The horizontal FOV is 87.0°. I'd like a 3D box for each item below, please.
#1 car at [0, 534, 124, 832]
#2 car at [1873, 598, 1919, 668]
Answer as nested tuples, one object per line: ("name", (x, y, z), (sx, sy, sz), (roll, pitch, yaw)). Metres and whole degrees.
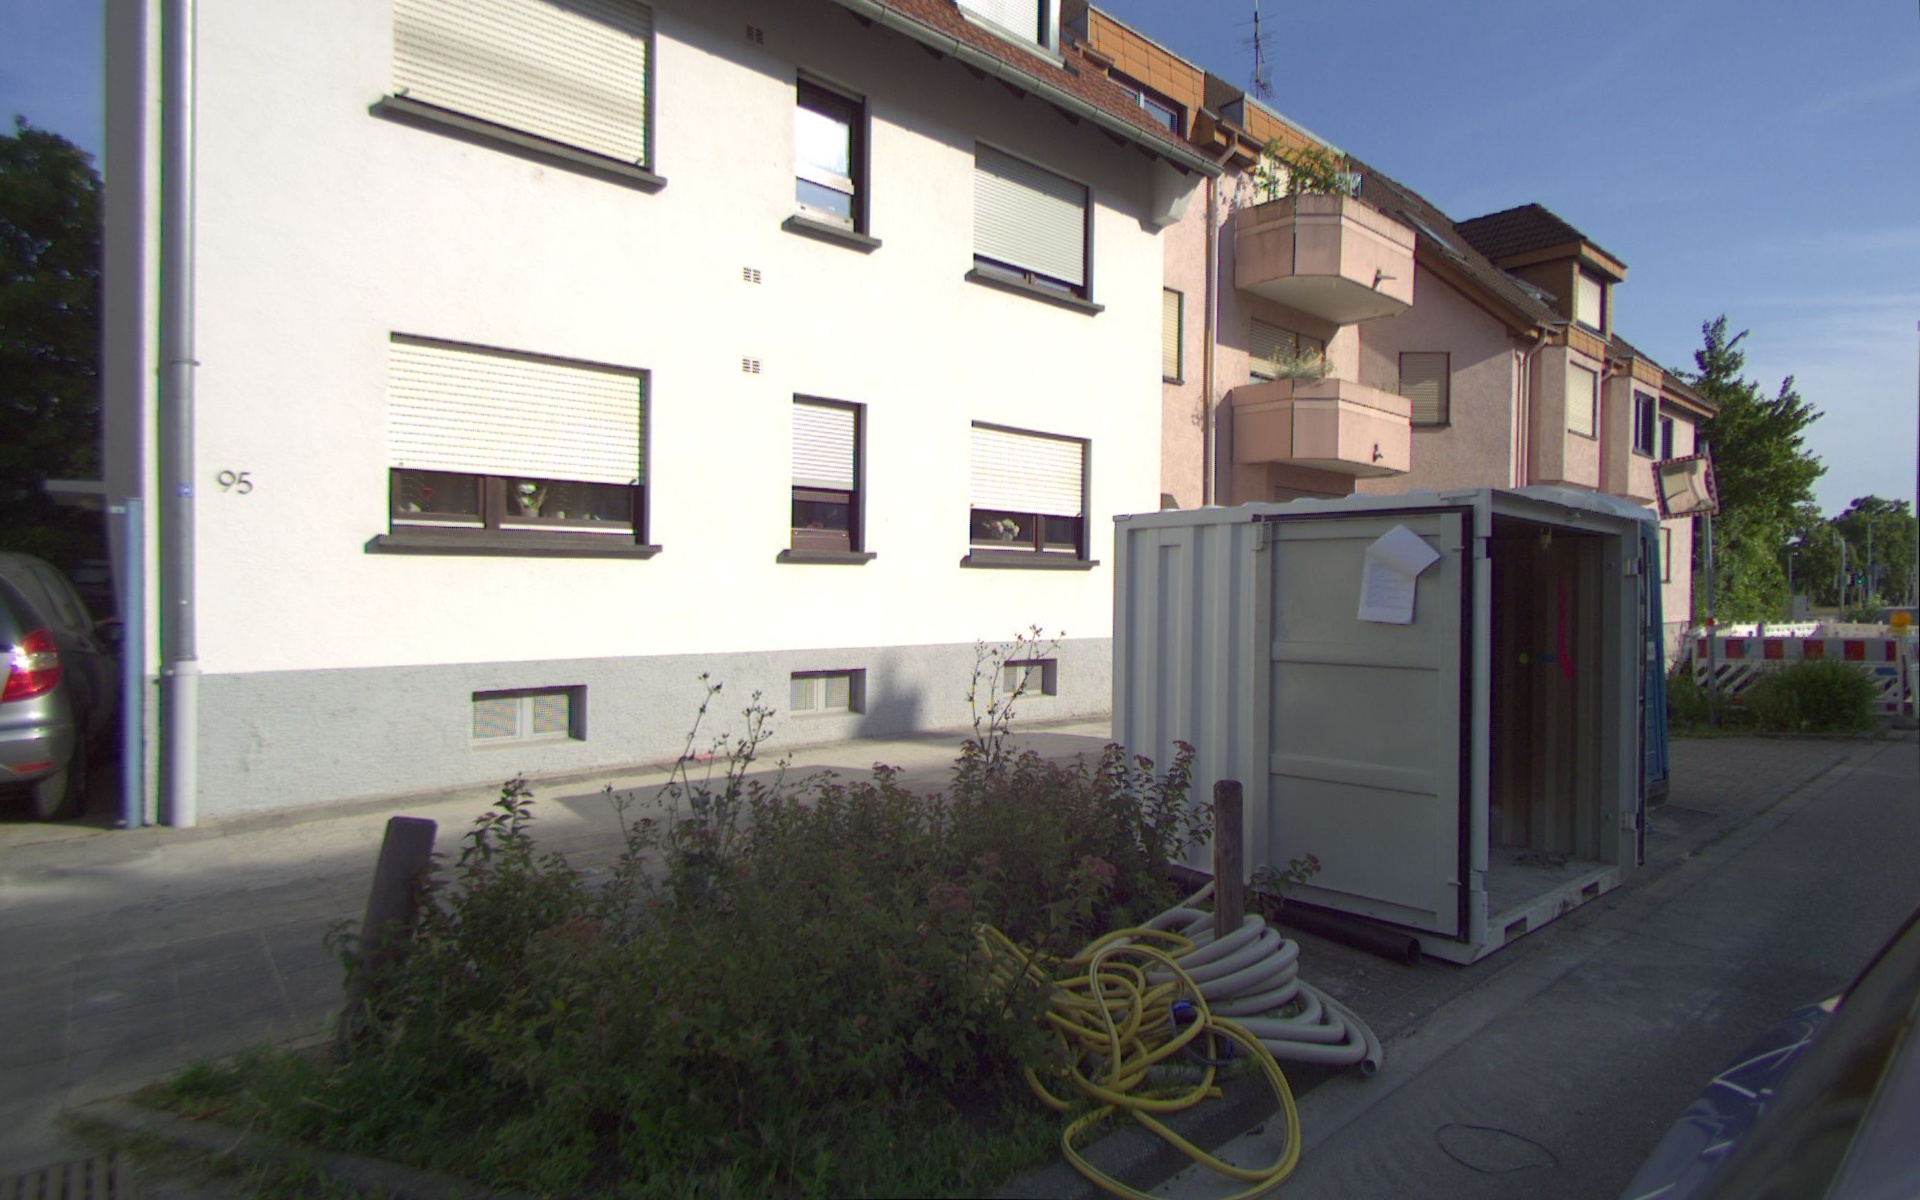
("car", (-6.645, 0.439, 6.562), (1.762, 1.586, 3.750), (0, 0, -38))
("car", (21.116, 0.683, 22.103), (1.631, 1.460, 3.355), (0, 0, 44))
